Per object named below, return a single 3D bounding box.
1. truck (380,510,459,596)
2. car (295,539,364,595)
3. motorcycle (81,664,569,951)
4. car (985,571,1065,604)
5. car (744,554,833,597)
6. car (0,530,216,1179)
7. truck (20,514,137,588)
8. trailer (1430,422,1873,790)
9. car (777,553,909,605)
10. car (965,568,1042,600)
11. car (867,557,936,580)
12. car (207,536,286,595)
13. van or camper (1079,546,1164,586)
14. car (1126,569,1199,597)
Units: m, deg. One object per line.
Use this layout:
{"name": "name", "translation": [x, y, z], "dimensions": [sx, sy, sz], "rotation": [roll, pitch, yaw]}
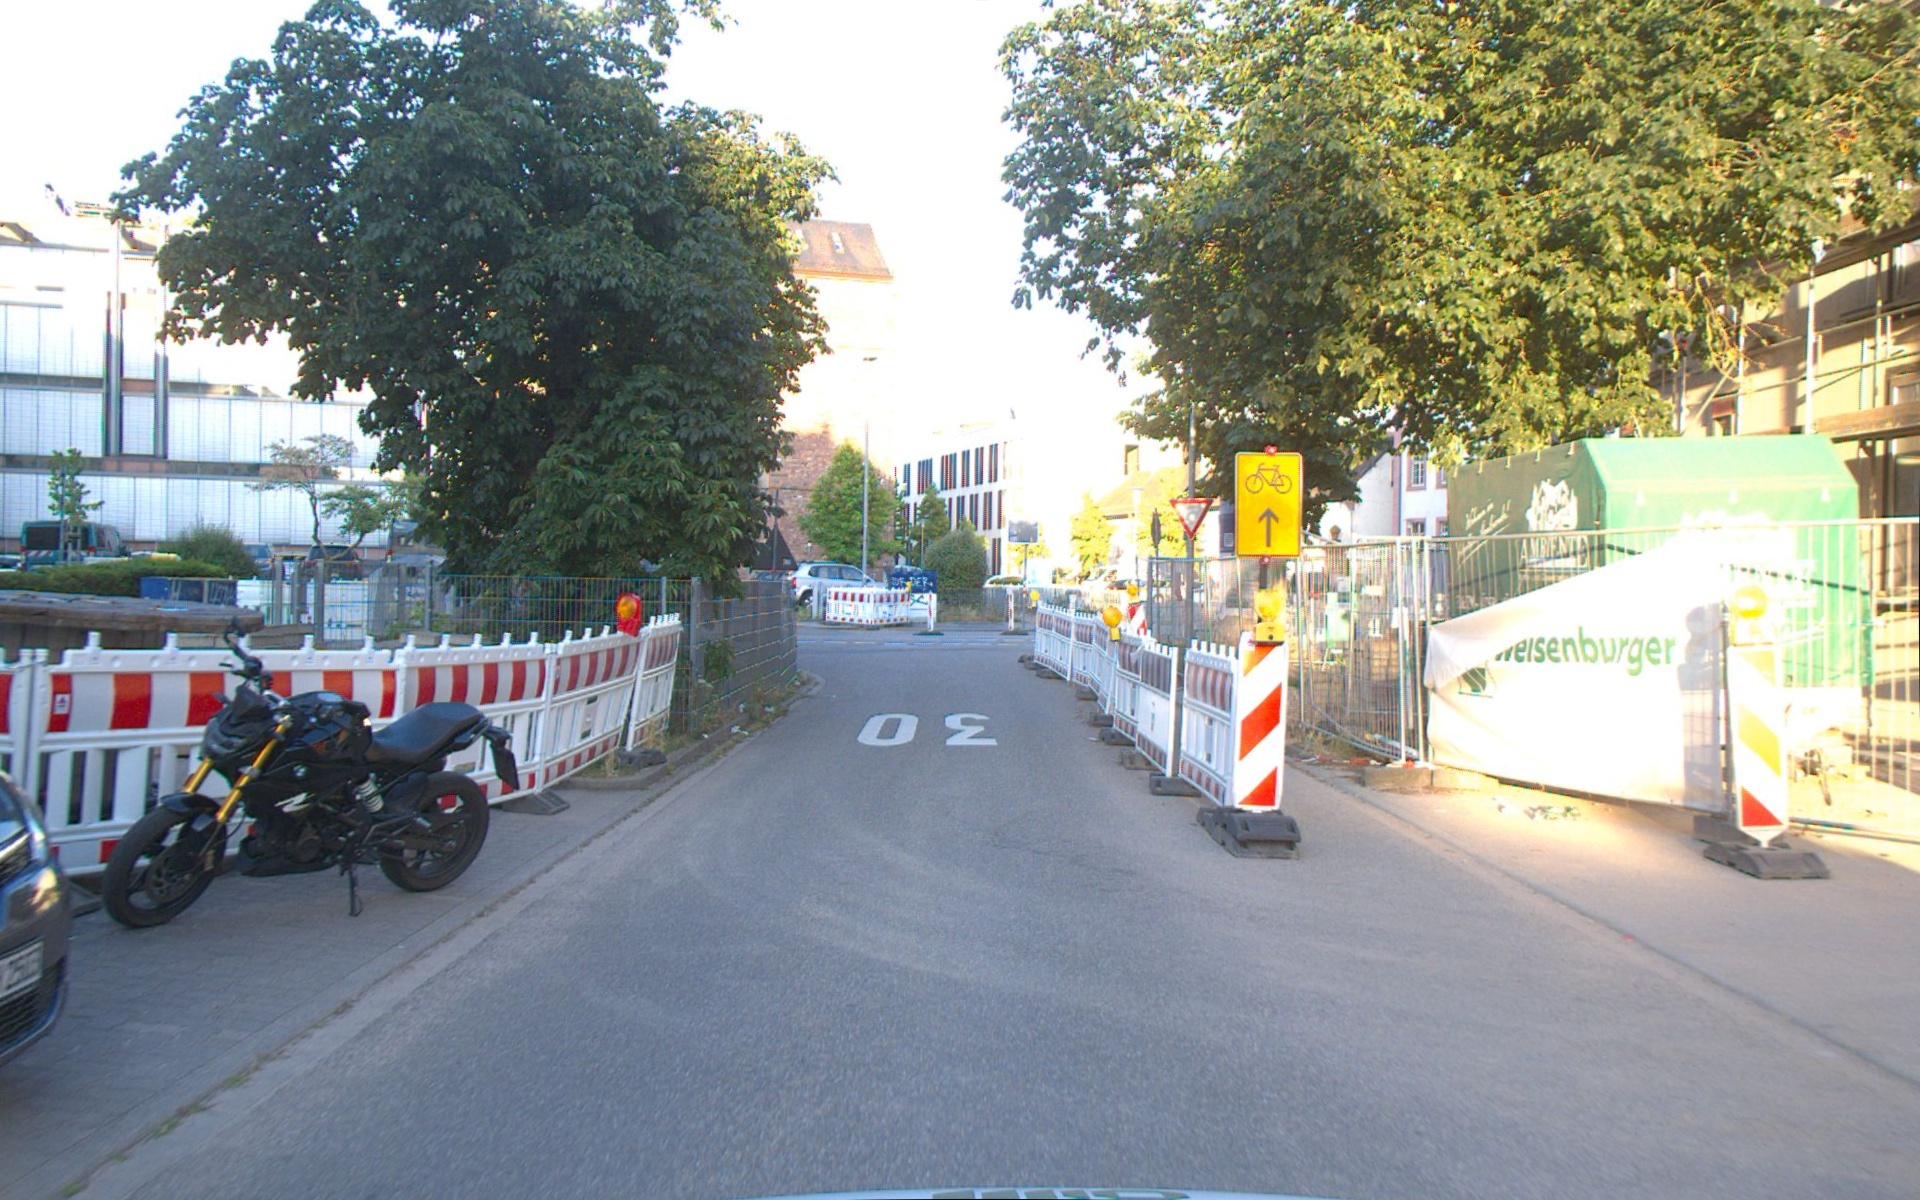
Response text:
{"name": "truck", "translation": [-17.676, -1.523, 54.266], "dimensions": [2.297, 2.662, 4.950], "rotation": [1, 1, -17]}
{"name": "car", "translation": [-20.310, -1.079, 53.378], "dimensions": [1.964, 1.721, 3.978], "rotation": [1, 1, -20]}
{"name": "motorcycle", "translation": [-2.764, 0.850, 7.523], "dimensions": [0.527, 1.038, 2.208], "rotation": [4, 1, 28]}
{"name": "car", "translation": [3.307, -0.648, 84.237], "dimensions": [3.687, 1.631, 1.676], "rotation": [1, 1, -22]}
{"name": "car", "translation": [-7.240, -1.037, 69.722], "dimensions": [3.423, 1.738, 1.659], "rotation": [0, 1, -19]}
{"name": "car", "translation": [-4.085, 0.508, 4.170], "dimensions": [3.550, 1.583, 1.693], "rotation": [4, 1, -1]}
{"name": "truck", "translation": [-26.673, -1.465, 50.213], "dimensions": [2.070, 2.127, 4.496], "rotation": [1, 1, -14]}
{"name": "trailer", "translation": [5.516, 0.001, 13.870], "dimensions": [1.952, 2.584, 4.187], "rotation": [1, 1, 1]}
{"name": "car", "translation": [-4.021, -0.715, 56.769], "dimensions": [4.204, 1.738, 1.694], "rotation": [0, 1, -19]}
{"name": "car", "translation": [2.289, -0.829, 86.975], "dimensions": [3.687, 1.631, 1.676], "rotation": [1, 1, -22]}
{"name": "car", "translation": [-3.647, -1.958, 102.795], "dimensions": [3.926, 1.335, 1.868], "rotation": [1, 2, -19]}
{"name": "car", "translation": [-22.515, -1.106, 52.324], "dimensions": [1.964, 1.757, 4.277], "rotation": [1, 1, -20]}
{"name": "van or camper", "translation": [9.736, -2.049, 99.805], "dimensions": [4.892, 2.279, 1.676], "rotation": [1, 0, -22]}
{"name": "car", "translation": [11.291, -0.965, 92.217], "dimensions": [3.687, 1.470, 1.676], "rotation": [1, 1, -22]}
